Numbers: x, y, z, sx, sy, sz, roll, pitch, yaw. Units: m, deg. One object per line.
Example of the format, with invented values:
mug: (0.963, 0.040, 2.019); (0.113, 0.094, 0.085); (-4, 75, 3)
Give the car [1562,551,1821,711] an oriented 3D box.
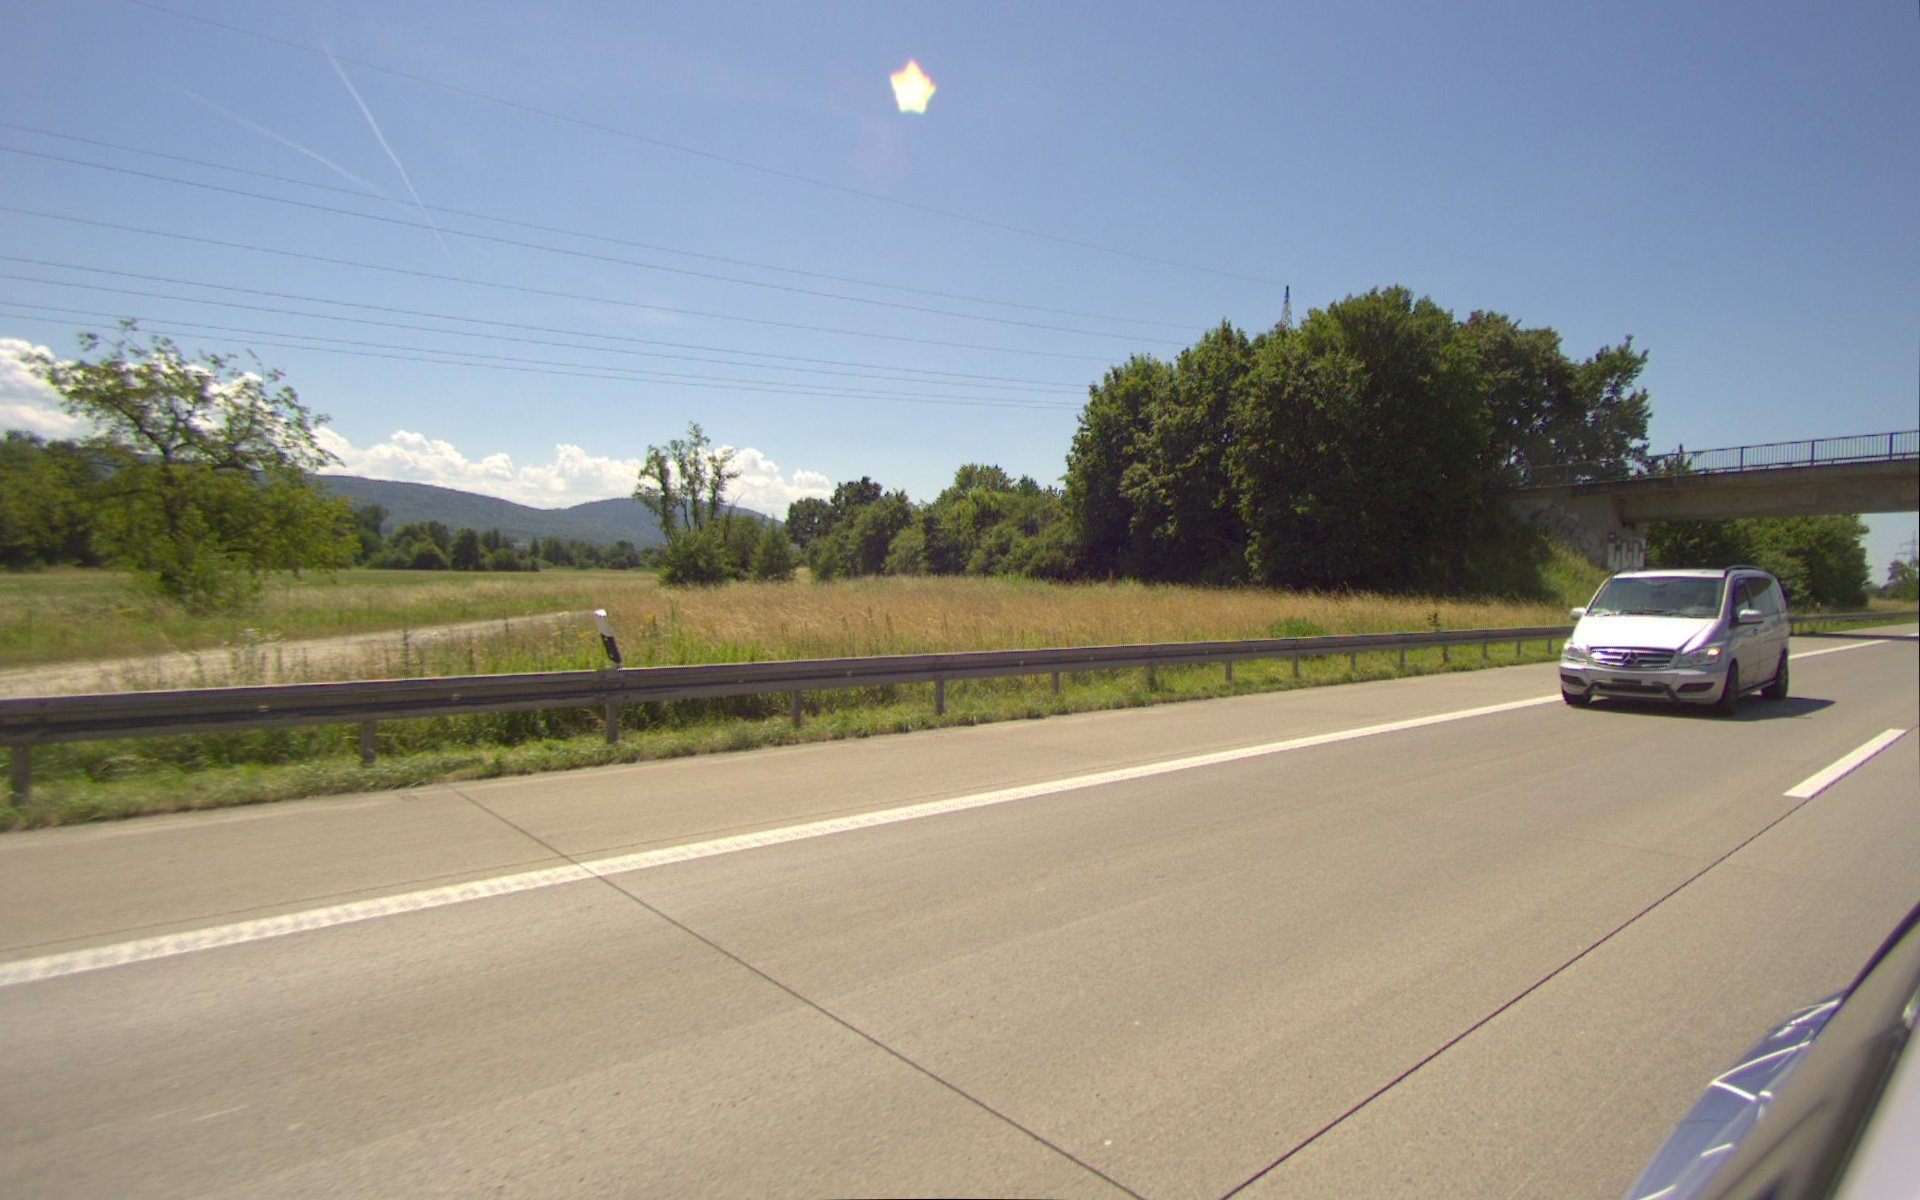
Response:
car: (10.620, 0.348, 14.521); (5.187, 1.913, 1.882); (0, 1, -41)
